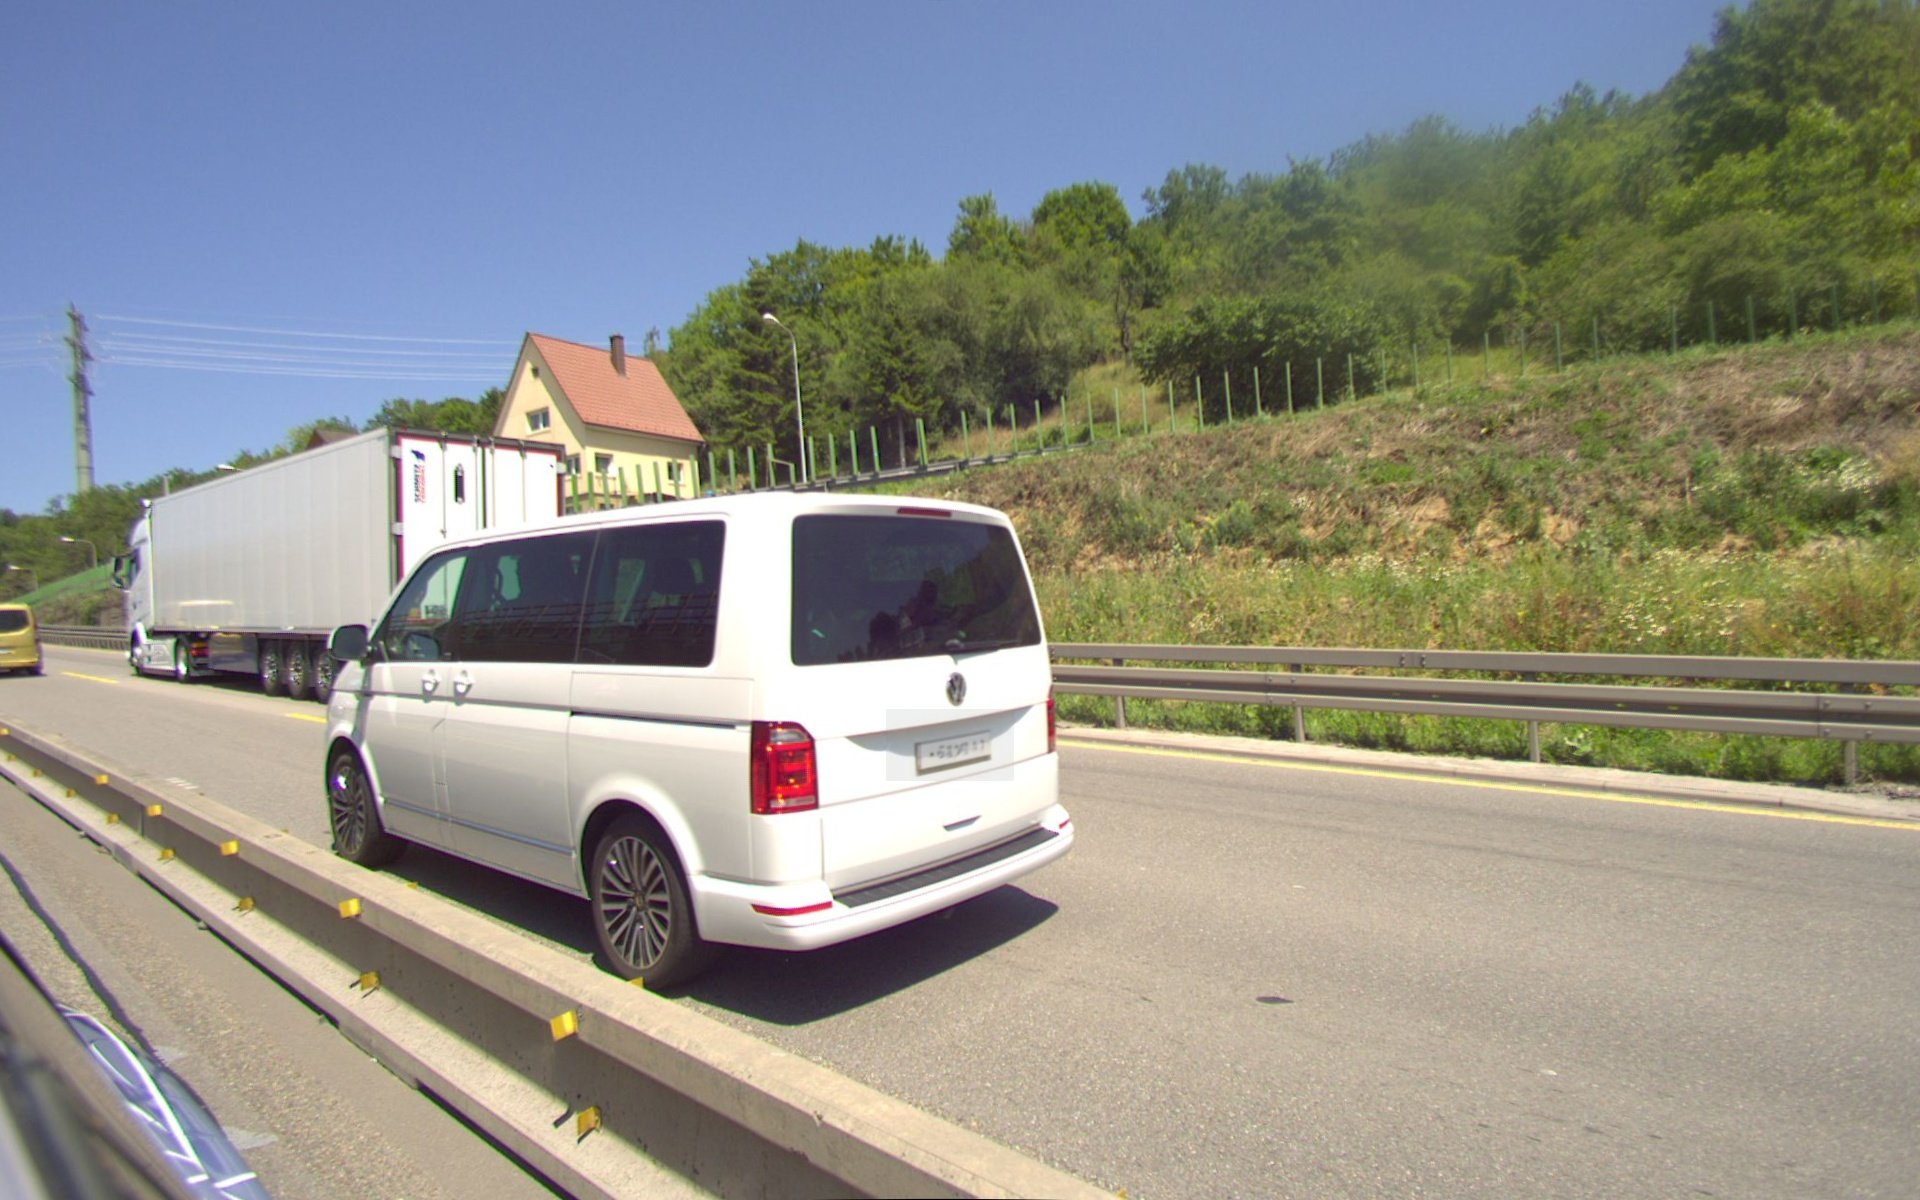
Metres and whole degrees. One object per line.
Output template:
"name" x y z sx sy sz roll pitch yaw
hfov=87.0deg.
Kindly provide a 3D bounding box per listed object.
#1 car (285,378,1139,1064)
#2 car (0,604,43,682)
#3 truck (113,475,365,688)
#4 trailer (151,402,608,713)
"car" -1.642 0.350 5.258 4.802 2.029 1.844 0 1 40
"car" -24.431 1.058 25.222 4.430 1.834 1.757 -1 0 40
"truck" -16.914 -0.389 23.602 6.478 4.269 3.149 0 1 39
"trailer" -11.713 -0.469 19.187 13.398 4.190 3.187 -1 0 41
